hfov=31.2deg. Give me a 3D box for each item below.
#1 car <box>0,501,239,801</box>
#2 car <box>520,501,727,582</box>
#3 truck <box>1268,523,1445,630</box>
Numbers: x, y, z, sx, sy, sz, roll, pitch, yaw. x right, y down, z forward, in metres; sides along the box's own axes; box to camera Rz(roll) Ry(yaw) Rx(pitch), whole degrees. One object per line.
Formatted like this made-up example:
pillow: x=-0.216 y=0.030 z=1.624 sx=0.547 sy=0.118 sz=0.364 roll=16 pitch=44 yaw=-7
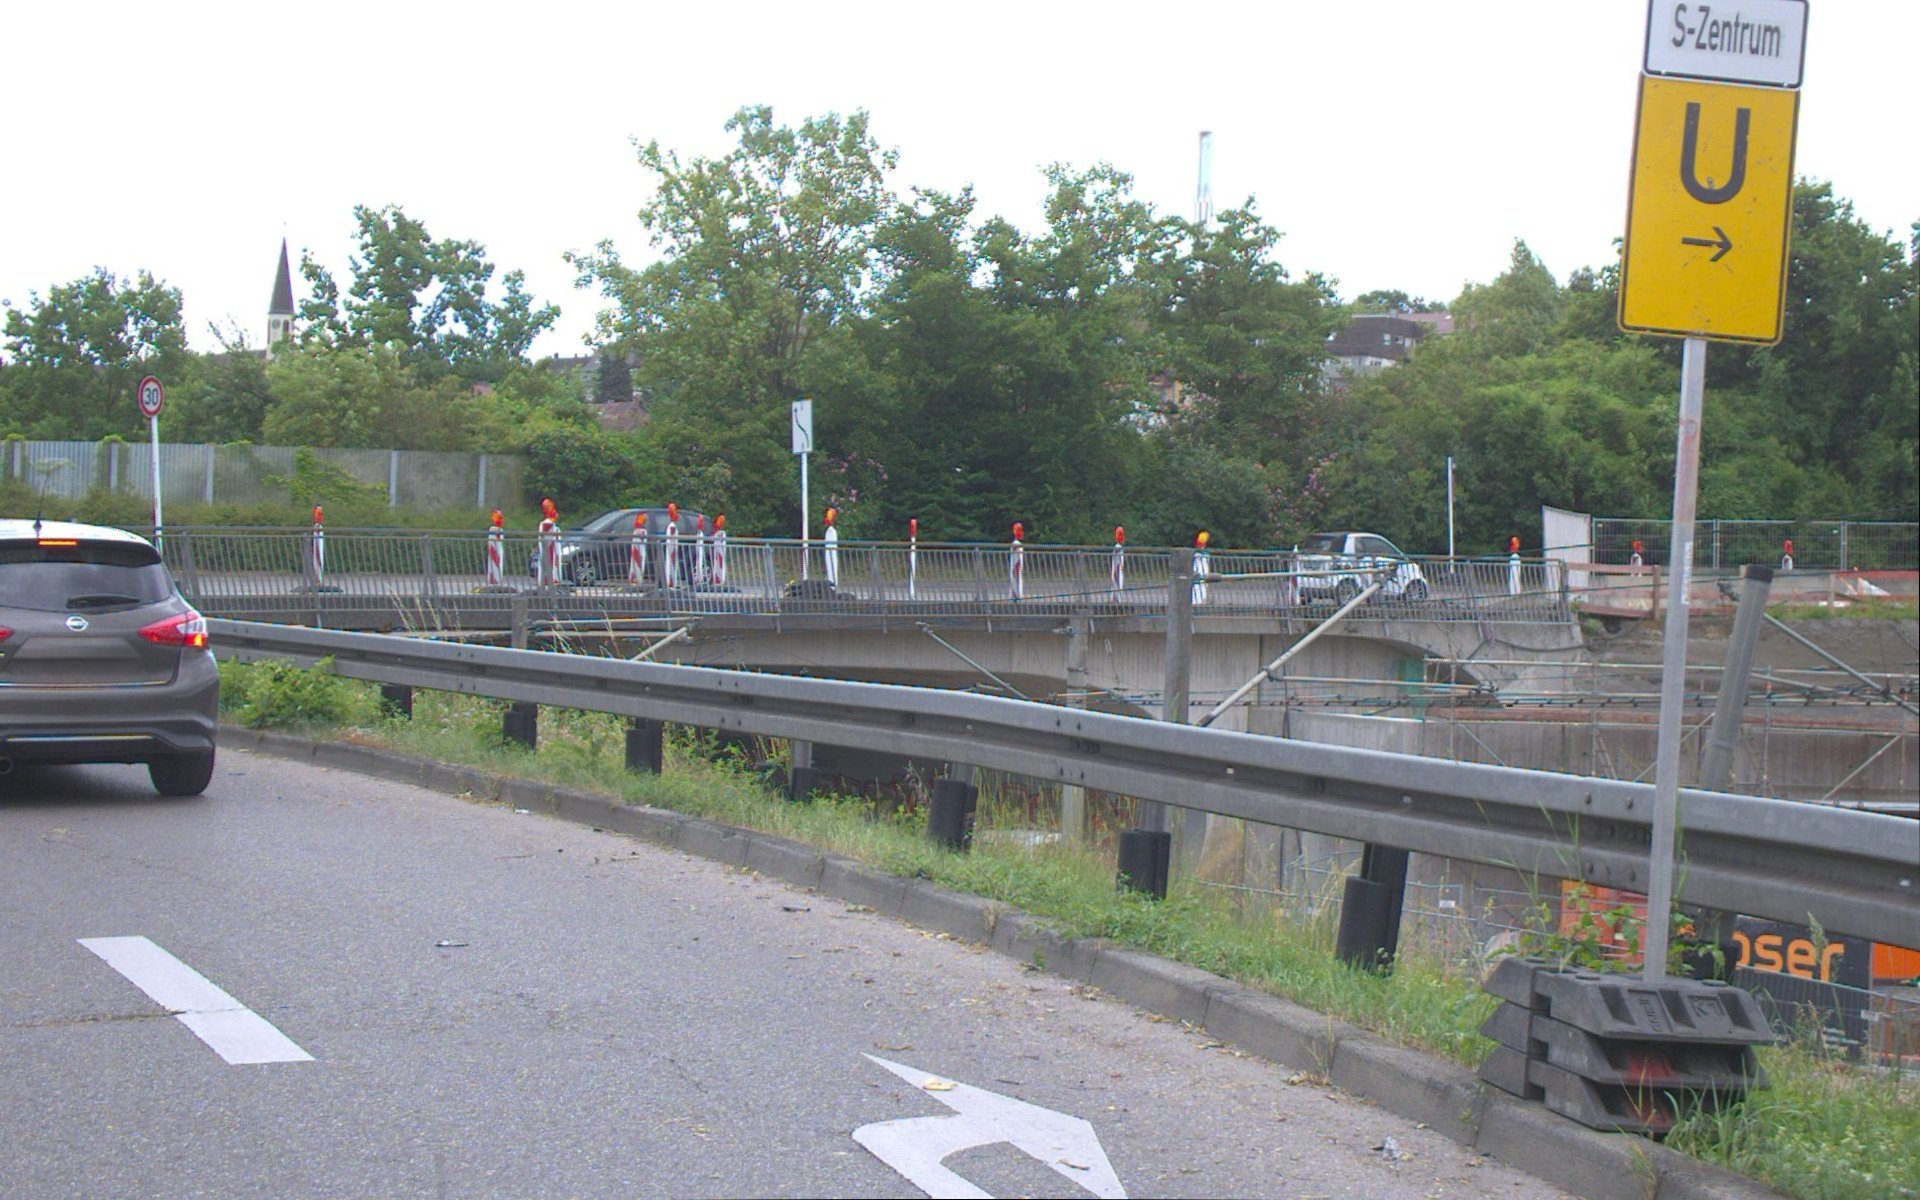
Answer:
car: x=-5.575 y=0.218 z=19.653 sx=1.797 sy=1.547 sz=4.001 roll=0 pitch=1 yaw=-28
car: x=-6.721 y=-1.145 z=68.721 sx=3.776 sy=1.547 sz=1.643 roll=0 pitch=-1 yaw=-33
truck: x=8.238 y=-0.481 z=71.430 sx=3.217 sy=2.007 sz=1.740 roll=4 pitch=0 yaw=-36
